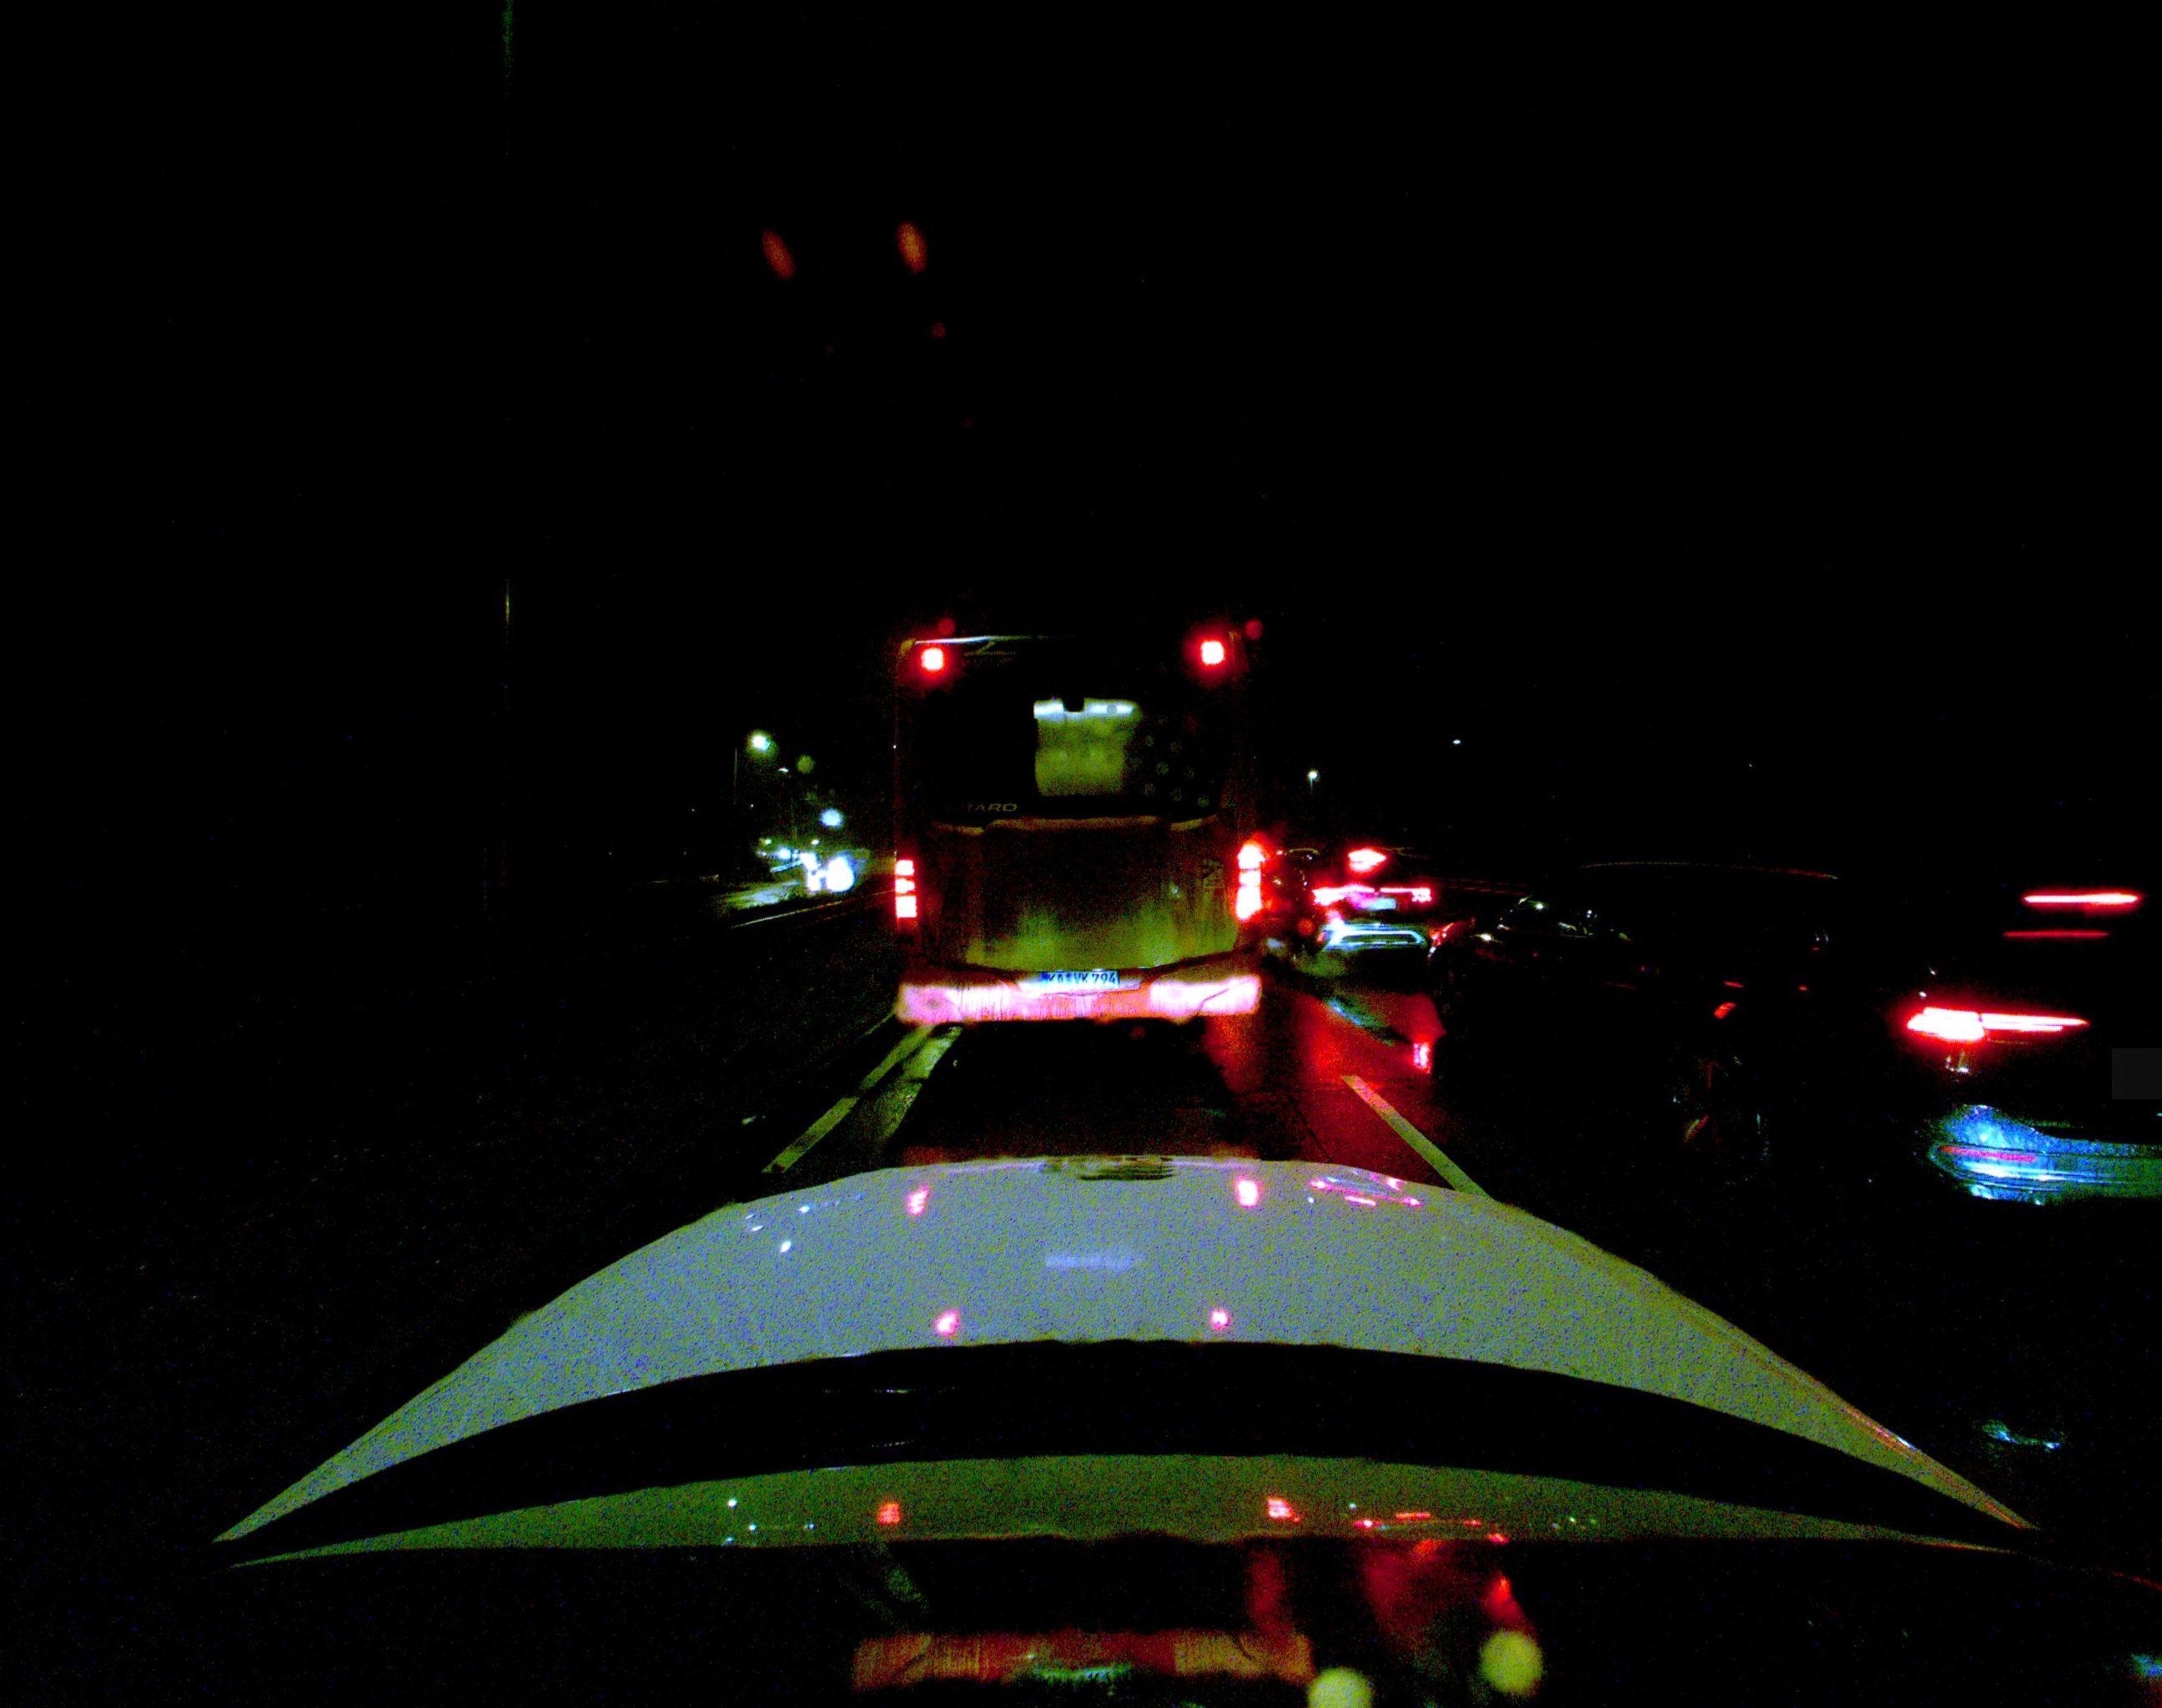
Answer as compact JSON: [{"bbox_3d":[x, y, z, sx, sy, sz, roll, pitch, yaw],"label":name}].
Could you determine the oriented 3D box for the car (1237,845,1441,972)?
[{"bbox_3d":[3.512,0.676,11.845,1.672,1.521,3.959,0,-1,-1],"label":"car"}]

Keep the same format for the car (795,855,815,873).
[{"bbox_3d":[-26.810,0.943,79.017,1.763,1.739,3.974,0,-1,-19],"label":"car"}]

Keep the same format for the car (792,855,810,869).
[{"bbox_3d":[-32.759,0.919,95.234,1.772,1.631,4.219,-1,0,-22],"label":"car"}]

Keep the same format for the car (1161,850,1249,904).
[{"bbox_3d":[3.554,0.634,23.971,1.987,1.441,3.999,0,-1,0],"label":"car"}]

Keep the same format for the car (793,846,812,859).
[{"bbox_3d":[-29.701,-0.165,86.847,1.633,1.369,3.695,0,-1,-23],"label":"car"}]

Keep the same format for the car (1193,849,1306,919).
[{"bbox_3d":[3.595,0.601,18.041,1.680,1.330,3.960,-2,0,1],"label":"car"}]

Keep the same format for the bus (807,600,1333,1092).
[{"bbox_3d":[-0.035,-0.158,9.973,3.274,3.050,9.544,-2,1,0],"label":"bus"}]

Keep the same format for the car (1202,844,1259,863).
[{"bbox_3d":[12.558,-0.084,68.564,4.477,1.519,1.853,0,2,-6],"label":"car"}]

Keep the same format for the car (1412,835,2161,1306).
[{"bbox_3d":[3.685,0.701,4.891,1.666,1.506,4.561,0,0,2],"label":"car"}]

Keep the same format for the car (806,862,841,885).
[{"bbox_3d":[-18.185,1.319,57.656,1.996,1.508,4.817,-1,0,-13],"label":"car"}]
